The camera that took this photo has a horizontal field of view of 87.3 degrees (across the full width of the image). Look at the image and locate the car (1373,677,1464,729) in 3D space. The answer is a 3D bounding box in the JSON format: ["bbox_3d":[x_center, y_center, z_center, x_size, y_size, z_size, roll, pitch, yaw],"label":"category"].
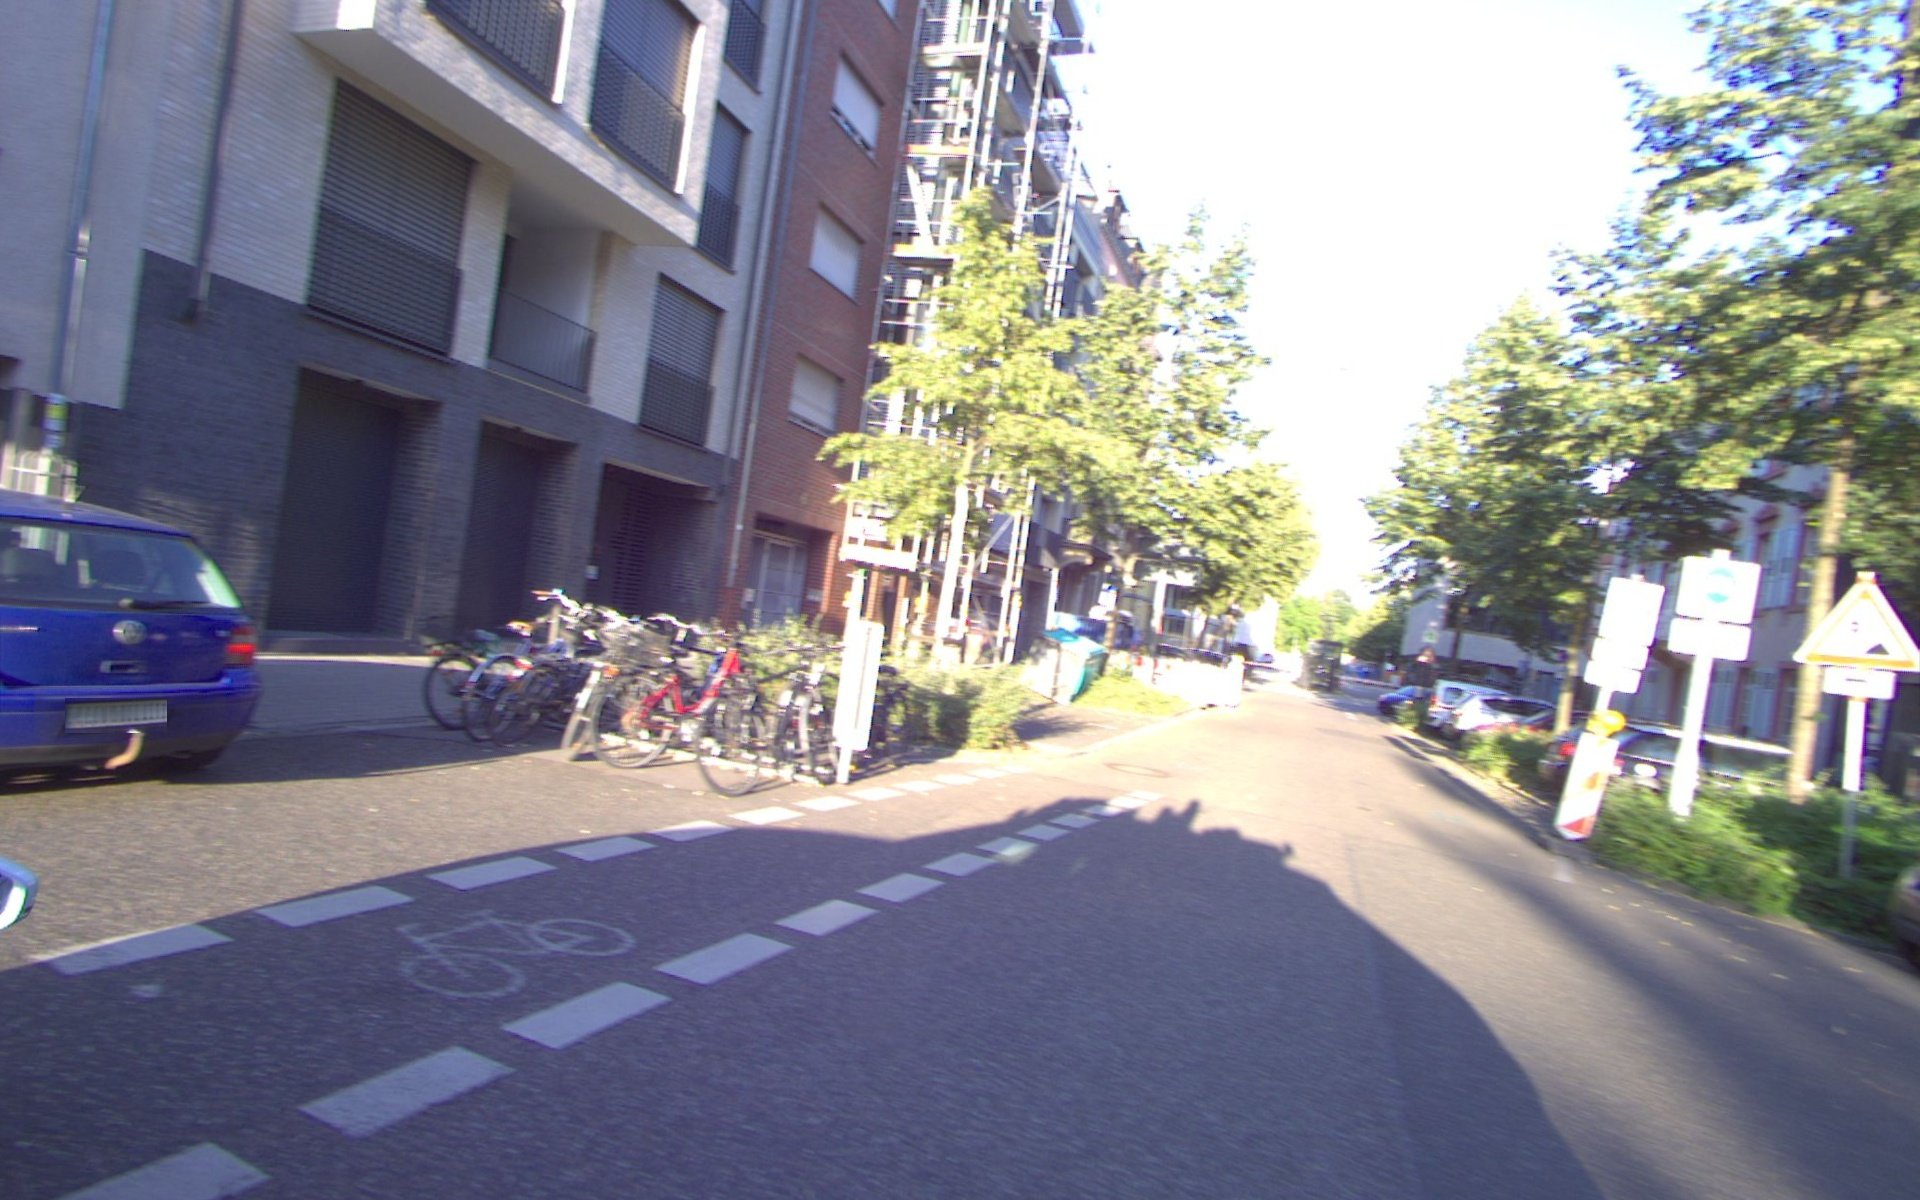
[{"bbox_3d":[19.589,4.399,42.951,3.669,1.587,1.838,10,0,-37],"label":"car"}]

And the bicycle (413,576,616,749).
[{"bbox_3d":[-3.495,0.496,8.042,0.380,1.203,1.552,9,0,20],"label":"bicycle"}]

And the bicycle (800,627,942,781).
[{"bbox_3d":[-0.751,0.895,8.984,0.499,1.193,1.552,9,0,20],"label":"bicycle"}]

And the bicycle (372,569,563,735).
[{"bbox_3d":[-3.983,0.431,8.248,0.381,1.197,1.406,9,0,20],"label":"bicycle"}]

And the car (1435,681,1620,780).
[{"bbox_3d":[14.481,3.290,25.927,3.628,1.690,1.859,10,1,18],"label":"car"}]

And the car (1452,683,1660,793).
[{"bbox_3d":[13.747,3.146,23.472,3.628,1.690,1.859,10,1,18],"label":"car"}]

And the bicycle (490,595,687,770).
[{"bbox_3d":[-2.804,0.620,7.771,0.375,1.173,1.552,9,0,20],"label":"bicycle"}]

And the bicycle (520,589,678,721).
[{"bbox_3d":[-3.507,0.542,9.913,0.450,1.145,1.552,9,0,20],"label":"bicycle"}]

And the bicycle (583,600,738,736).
[{"bbox_3d":[-2.850,0.651,9.725,0.460,1.158,1.552,9,0,20],"label":"bicycle"}]

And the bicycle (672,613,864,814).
[{"bbox_3d":[-1.332,0.782,7.312,0.489,1.235,1.552,9,0,20],"label":"bicycle"}]

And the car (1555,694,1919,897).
[{"bbox_3d":[10.465,2.500,13.301,3.934,1.690,1.859,10,1,18],"label":"car"}]

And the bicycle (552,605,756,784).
[{"bbox_3d":[-2.265,0.701,7.640,0.411,1.171,1.551,9,0,25],"label":"bicycle"}]

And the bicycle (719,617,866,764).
[{"bbox_3d":[-1.495,0.806,9.249,0.480,1.177,1.552,9,0,20],"label":"bicycle"}]

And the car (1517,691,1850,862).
[{"bbox_3d":[11.107,2.645,15.780,3.628,1.690,1.859,10,1,18],"label":"car"}]

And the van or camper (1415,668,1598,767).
[{"bbox_3d":[16.497,3.511,30.630,4.371,2.029,1.859,10,1,18],"label":"van or camper"}]

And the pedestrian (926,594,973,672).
[{"bbox_3d":[-0.249,0.828,24.798,0.730,1.805,0.656,8,1,20],"label":"pedestrian"}]

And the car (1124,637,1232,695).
[{"bbox_3d":[9.037,2.705,41.714,3.927,1.704,1.891,9,0,22],"label":"car"}]

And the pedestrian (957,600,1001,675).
[{"bbox_3d":[0.493,0.959,25.667,0.730,1.805,0.656,8,1,18],"label":"pedestrian"}]

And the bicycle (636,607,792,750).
[{"bbox_3d":[-2.245,0.715,9.380,0.480,1.163,1.552,9,0,20],"label":"bicycle"}]

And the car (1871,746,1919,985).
[{"bbox_3d":[8.189,2.068,6.128,3.416,1.595,1.508,9,0,18],"label":"car"}]

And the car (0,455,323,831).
[{"bbox_3d":[-5.776,-0.030,5.306,4.040,1.582,1.695,8,0,16],"label":"car"}]

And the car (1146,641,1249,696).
[{"bbox_3d":[10.405,2.962,44.055,3.927,1.704,1.891,9,0,22],"label":"car"}]
